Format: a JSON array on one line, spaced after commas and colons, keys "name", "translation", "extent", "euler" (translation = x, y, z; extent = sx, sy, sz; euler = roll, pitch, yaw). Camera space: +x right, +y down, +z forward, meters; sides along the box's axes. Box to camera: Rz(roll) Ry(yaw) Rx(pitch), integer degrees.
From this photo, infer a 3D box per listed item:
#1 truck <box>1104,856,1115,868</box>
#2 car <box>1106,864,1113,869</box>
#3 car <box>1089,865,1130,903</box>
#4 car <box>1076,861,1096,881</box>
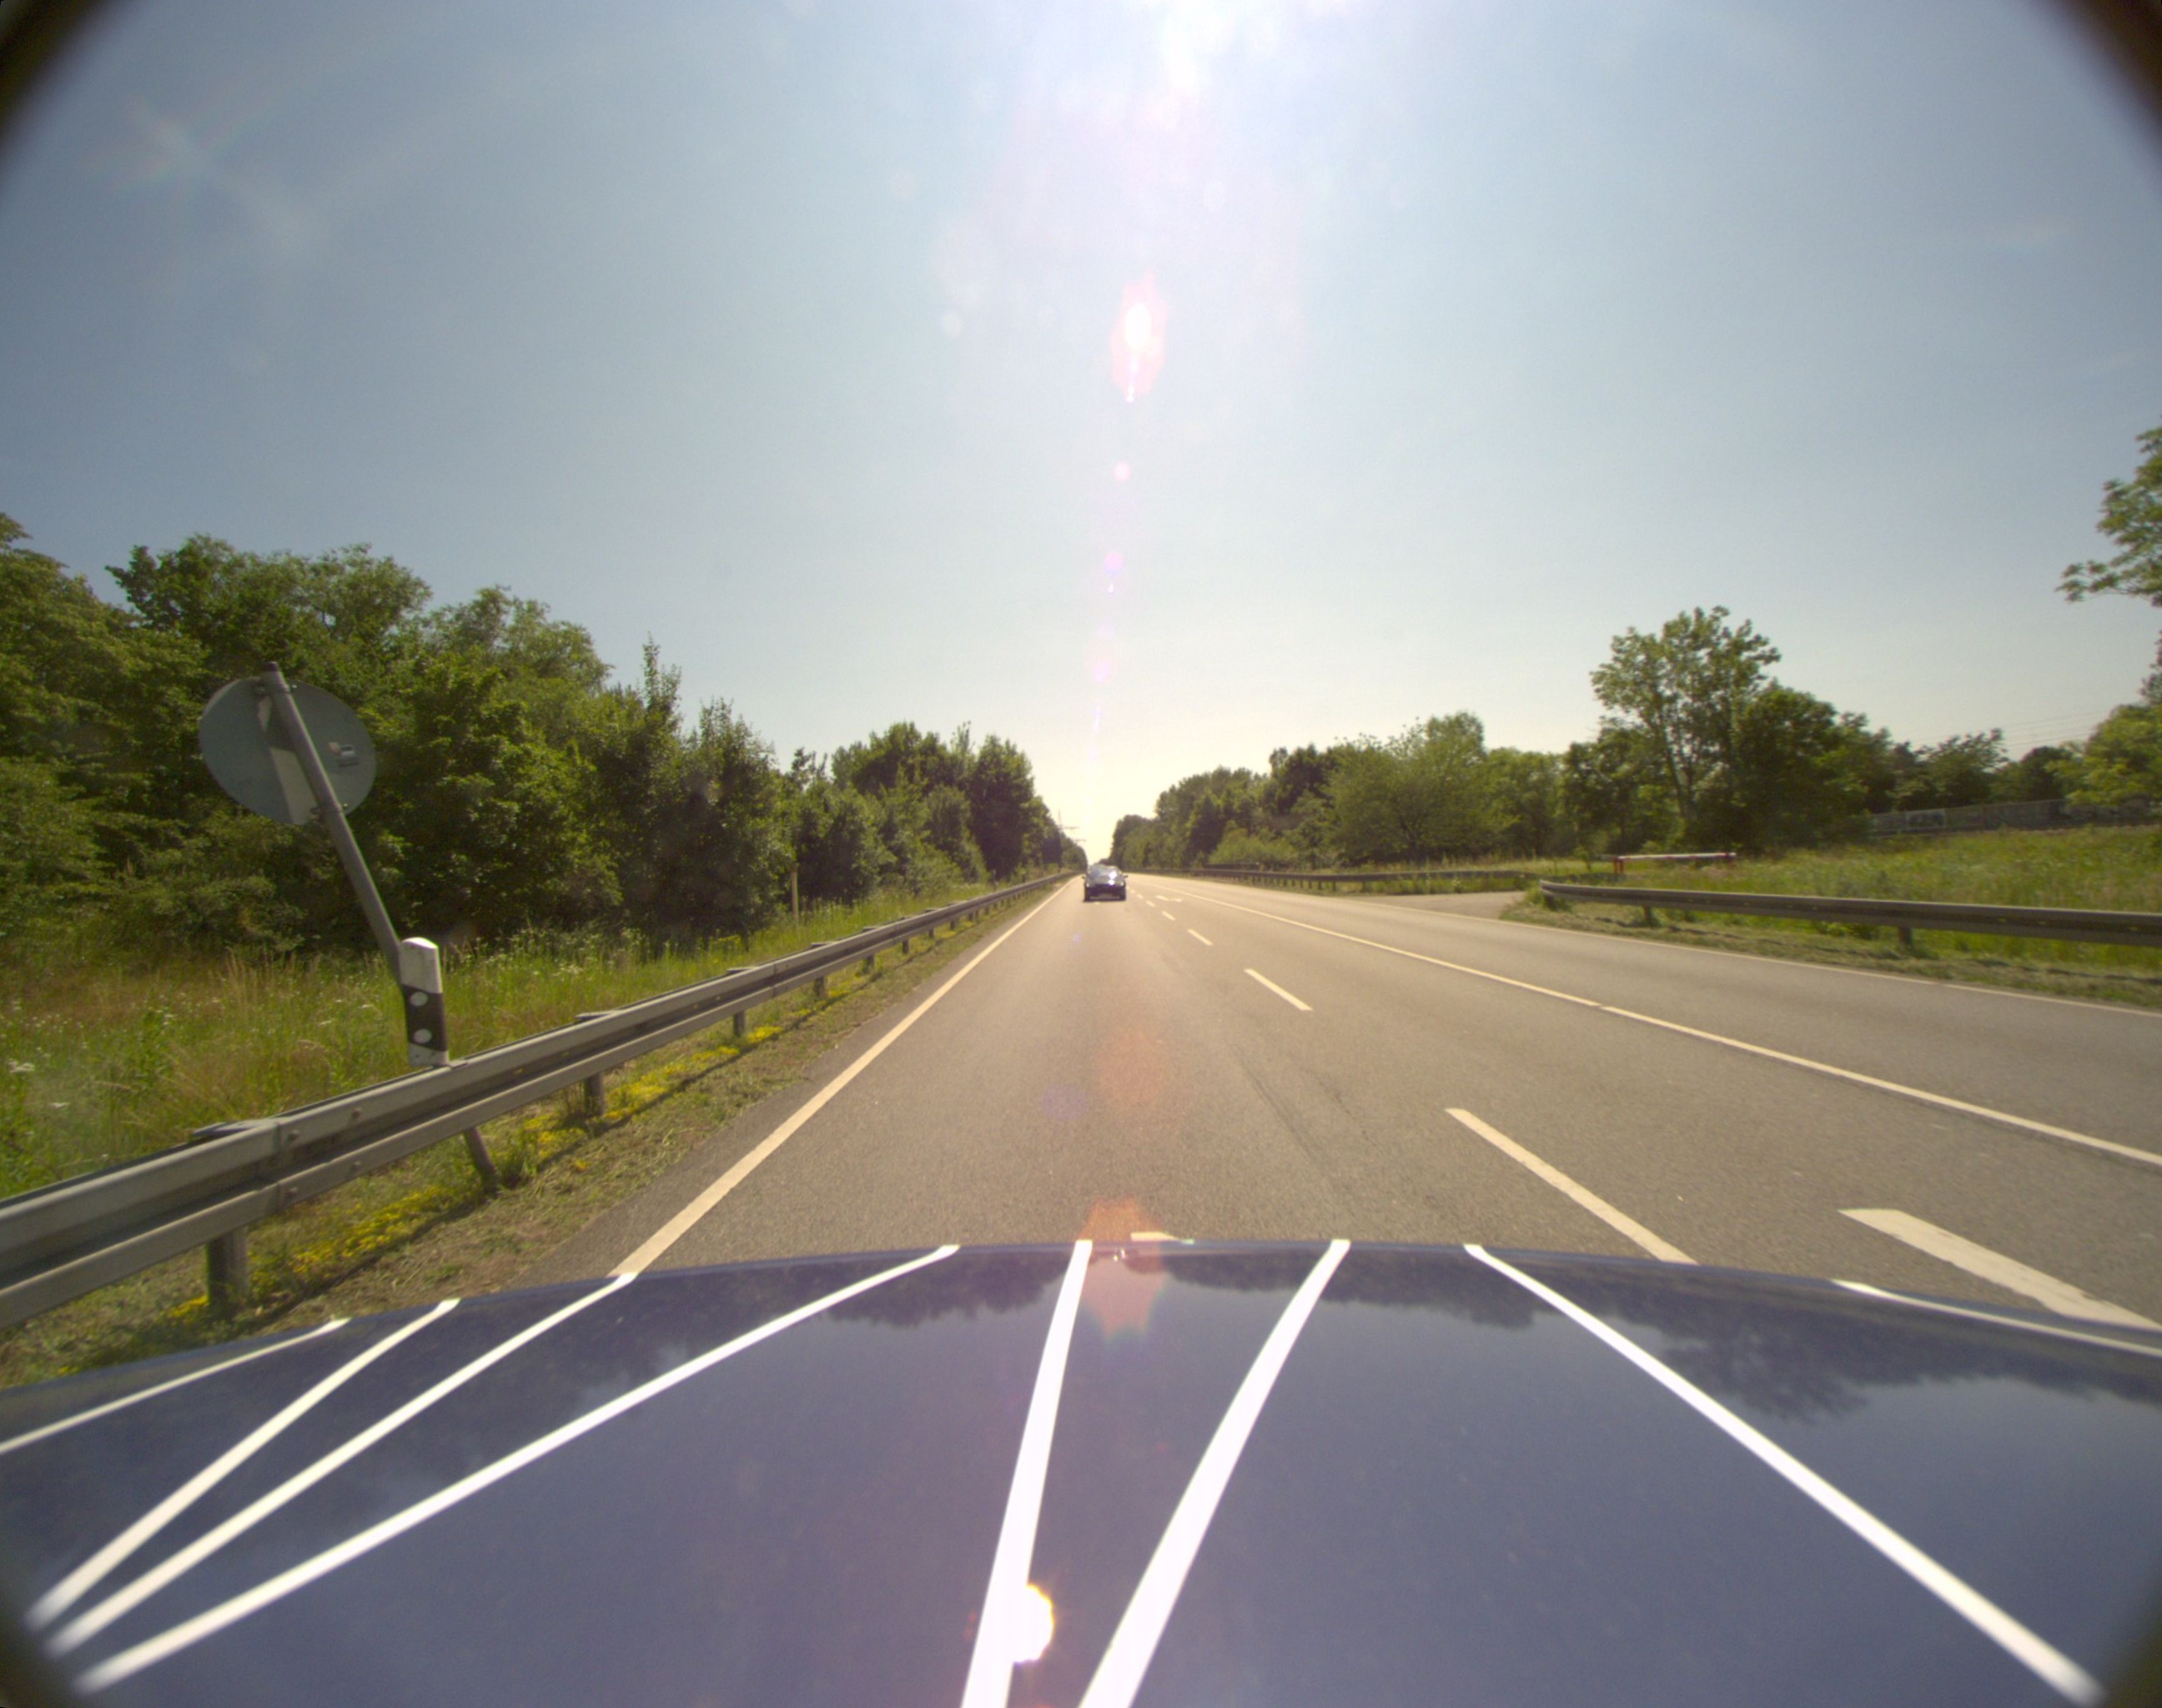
[{"name": "truck", "translation": [9.166, 2.711, 246.629], "extent": [3.200, 3.678, 9.008], "euler": [-2, -1, 0]}, {"name": "car", "translation": [8.490, 3.737, 223.834], "extent": [1.822, 1.537, 4.527], "euler": [-2, 0, -1]}, {"name": "car", "translation": [1.130, 1.180, 30.689], "extent": [1.529, 1.387, 3.443], "euler": [-1, 0, 1]}, {"name": "car", "translation": [0.362, 1.284, 58.257], "extent": [1.443, 1.443, 3.298], "euler": [-2, 0, -1]}]
